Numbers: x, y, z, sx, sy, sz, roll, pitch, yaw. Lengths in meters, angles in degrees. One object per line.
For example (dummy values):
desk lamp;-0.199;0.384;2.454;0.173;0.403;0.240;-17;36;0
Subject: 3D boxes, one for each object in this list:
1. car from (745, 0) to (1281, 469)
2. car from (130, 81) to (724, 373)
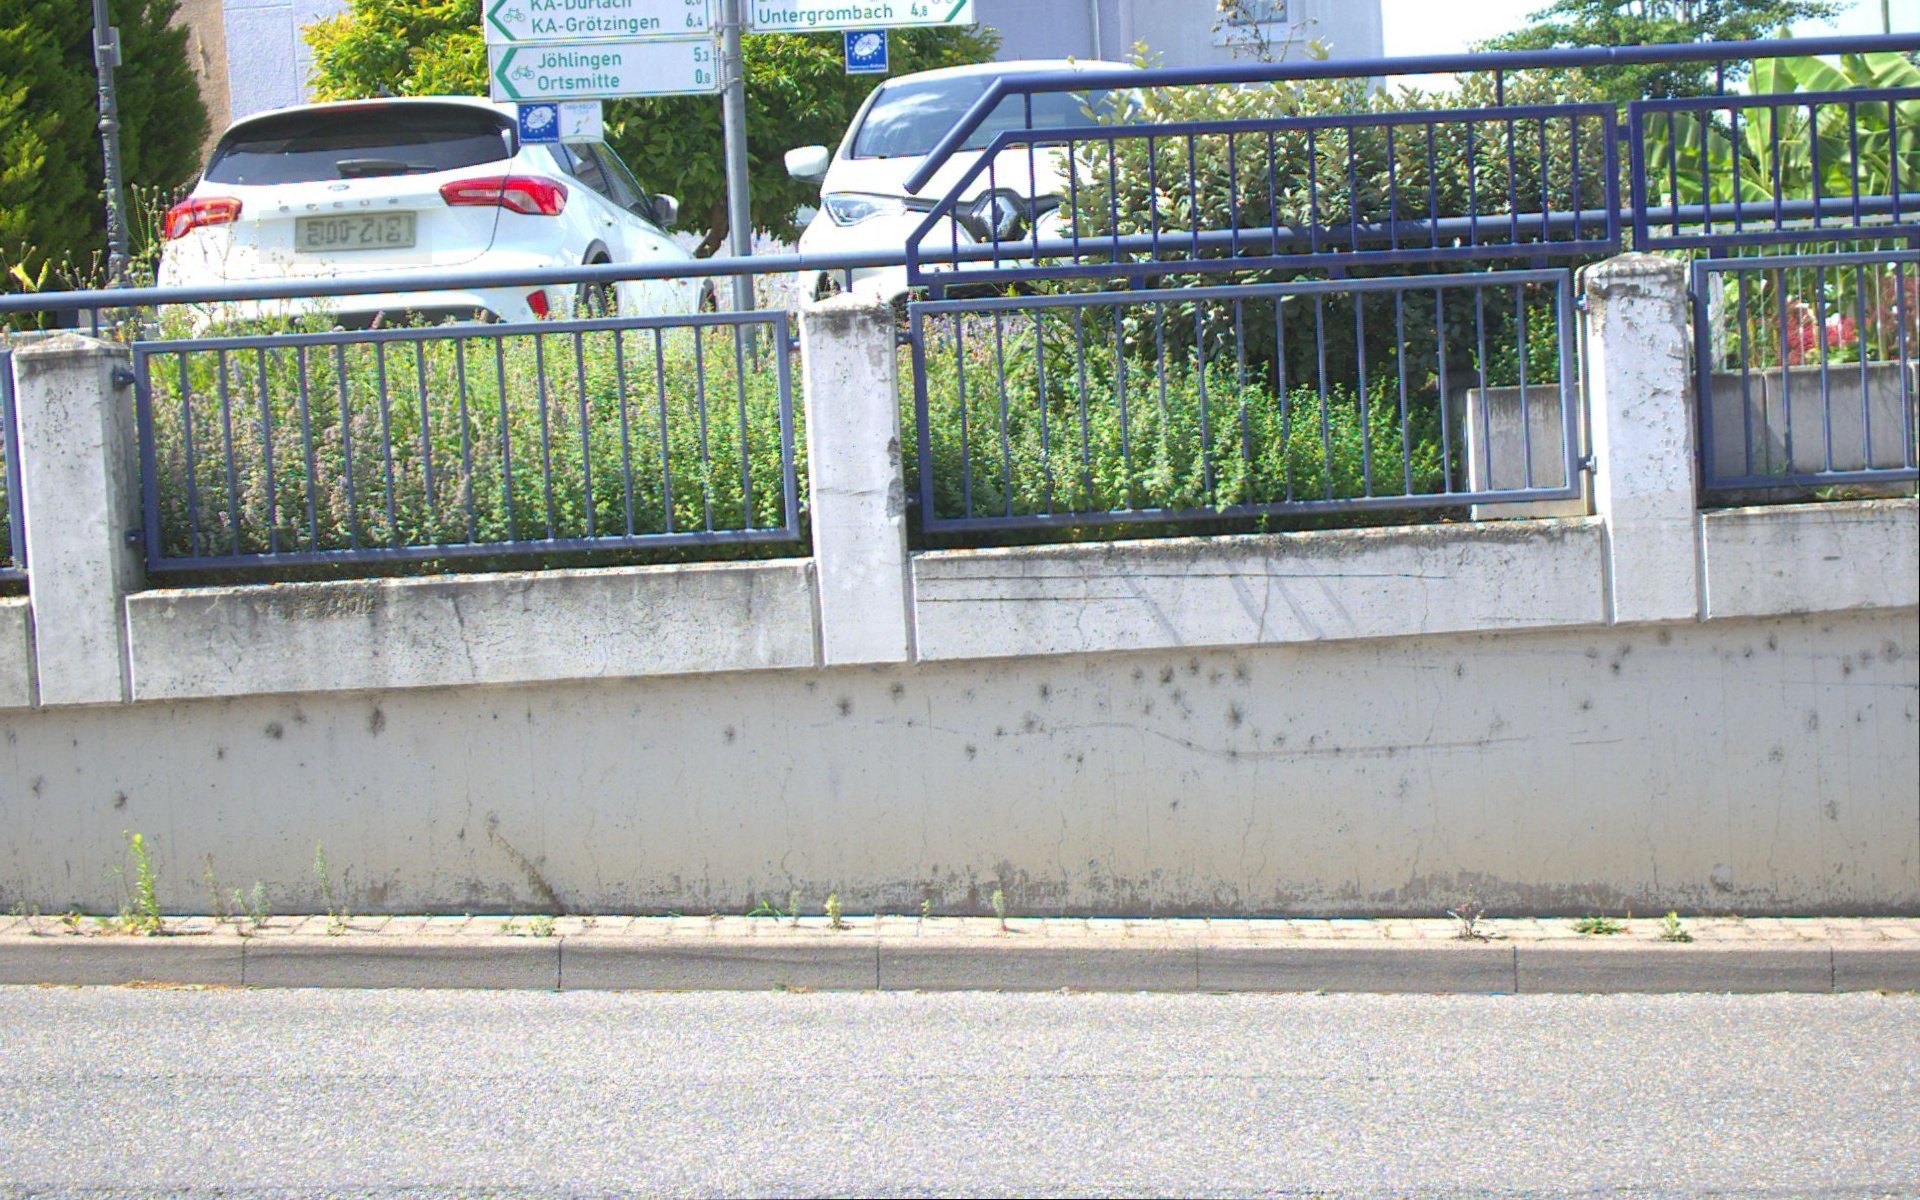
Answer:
car;0.366;-1.490;15.008;1.994;1.791;4.196;1;2;5
car;-2.219;-1.582;15.210;1.825;1.016;3.459;1;2;5
